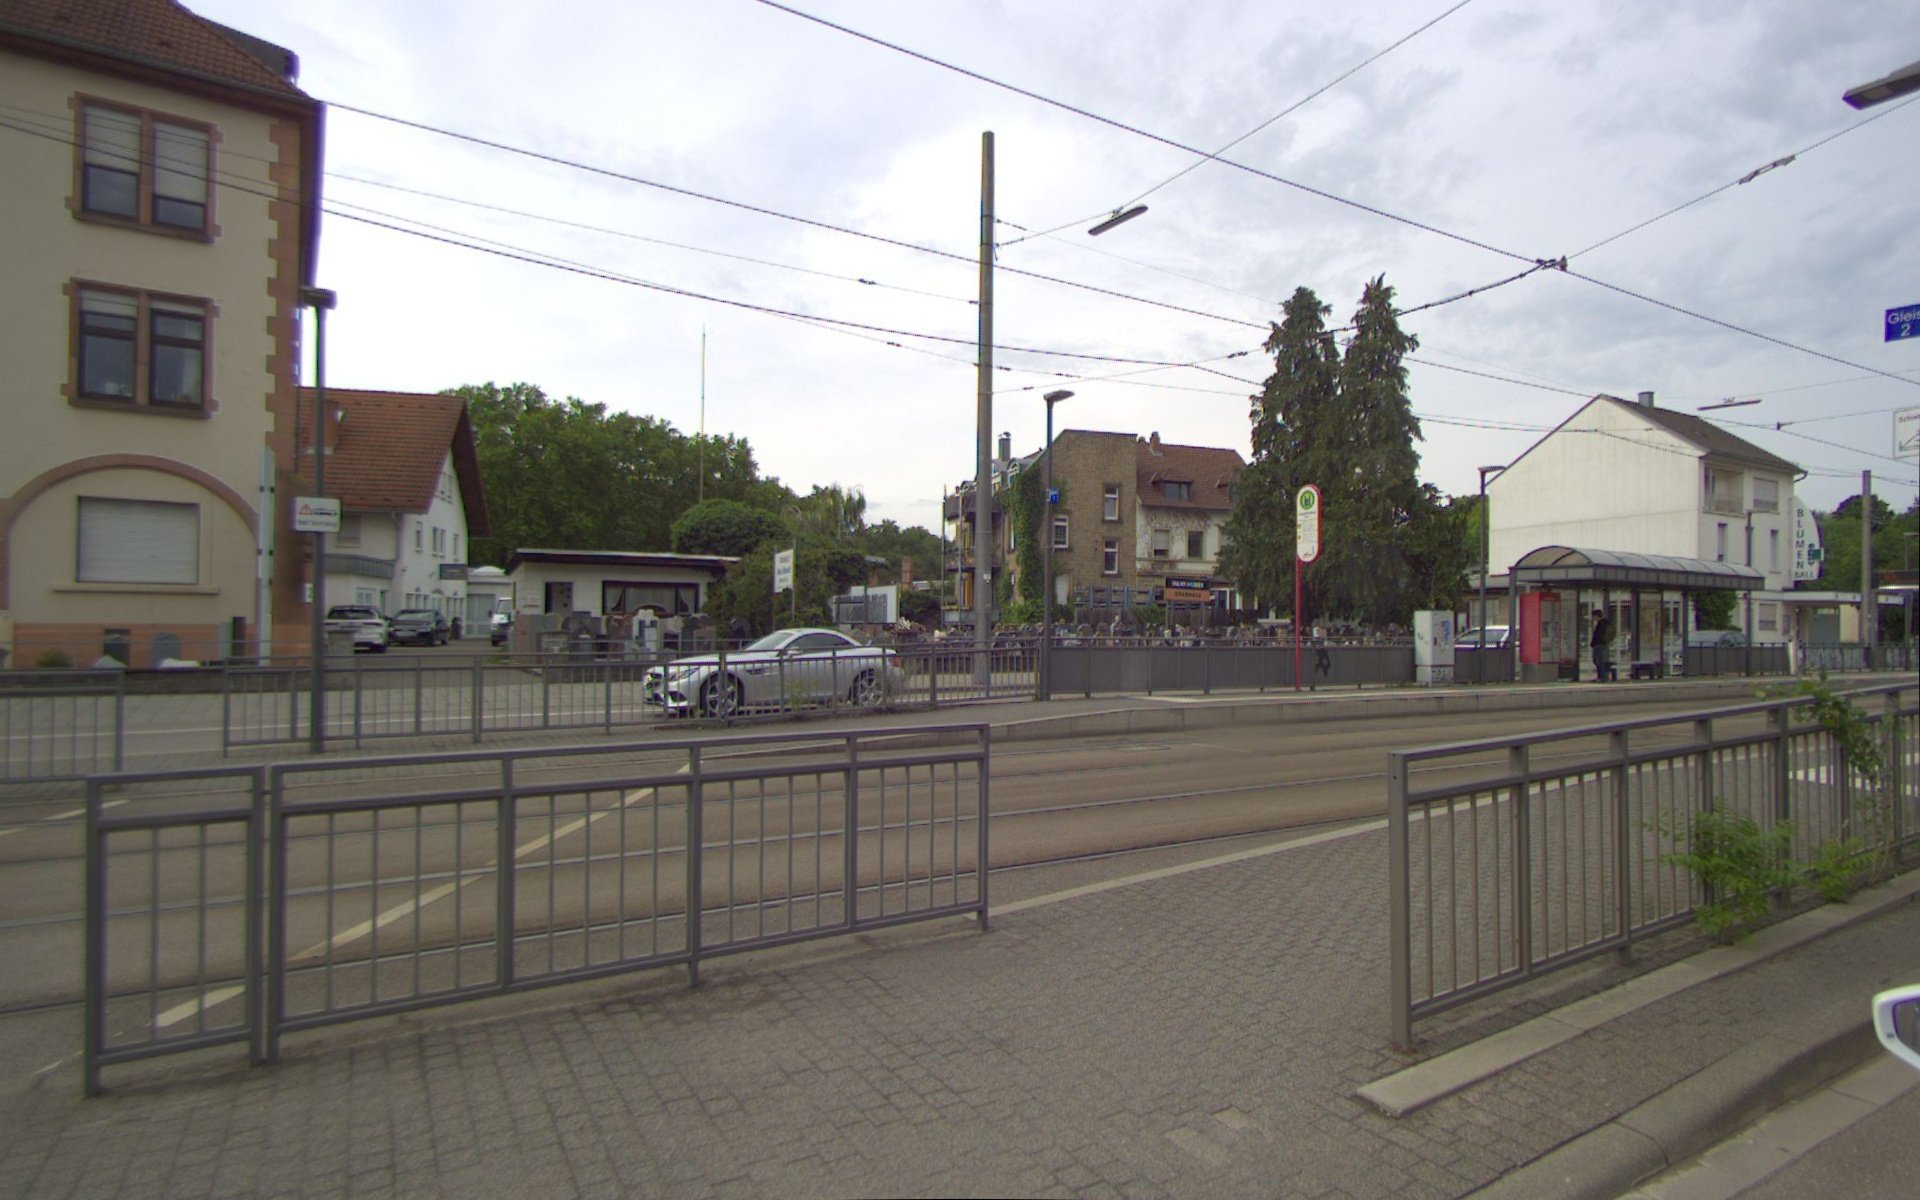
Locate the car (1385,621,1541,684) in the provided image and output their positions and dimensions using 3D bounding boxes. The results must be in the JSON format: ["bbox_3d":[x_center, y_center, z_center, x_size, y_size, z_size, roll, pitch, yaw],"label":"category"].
[{"bbox_3d":[13.069,1.356,26.043,3.957,1.505,1.854,1,-4,-33],"label":"car"}]

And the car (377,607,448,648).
[{"bbox_3d":[-21.045,1.043,38.760,1.691,1.454,3.635,2,-1,-18],"label":"car"}]

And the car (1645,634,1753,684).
[{"bbox_3d":[23.939,1.891,32.495,3.962,1.470,1.751,3,-2,-36],"label":"car"}]

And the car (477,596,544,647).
[{"bbox_3d":[-18.714,0.853,42.041,2.089,2.012,5.291,1,0,-19],"label":"car"}]

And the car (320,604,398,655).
[{"bbox_3d":[-18.481,0.870,31.026,1.670,1.432,3.852,2,-1,-25],"label":"car"}]

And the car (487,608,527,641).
[{"bbox_3d":[-22.925,1.231,50.912,1.510,1.578,3.714,2,-1,-20],"label":"car"}]

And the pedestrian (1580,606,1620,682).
[{"bbox_3d":[14.657,1.003,23.017,0.684,1.686,0.617,1,0,25],"label":"pedestrian"}]

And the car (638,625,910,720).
[{"bbox_3d":[-2.850,1.074,15.630,3.792,1.316,1.740,2,-2,-33],"label":"car"}]
